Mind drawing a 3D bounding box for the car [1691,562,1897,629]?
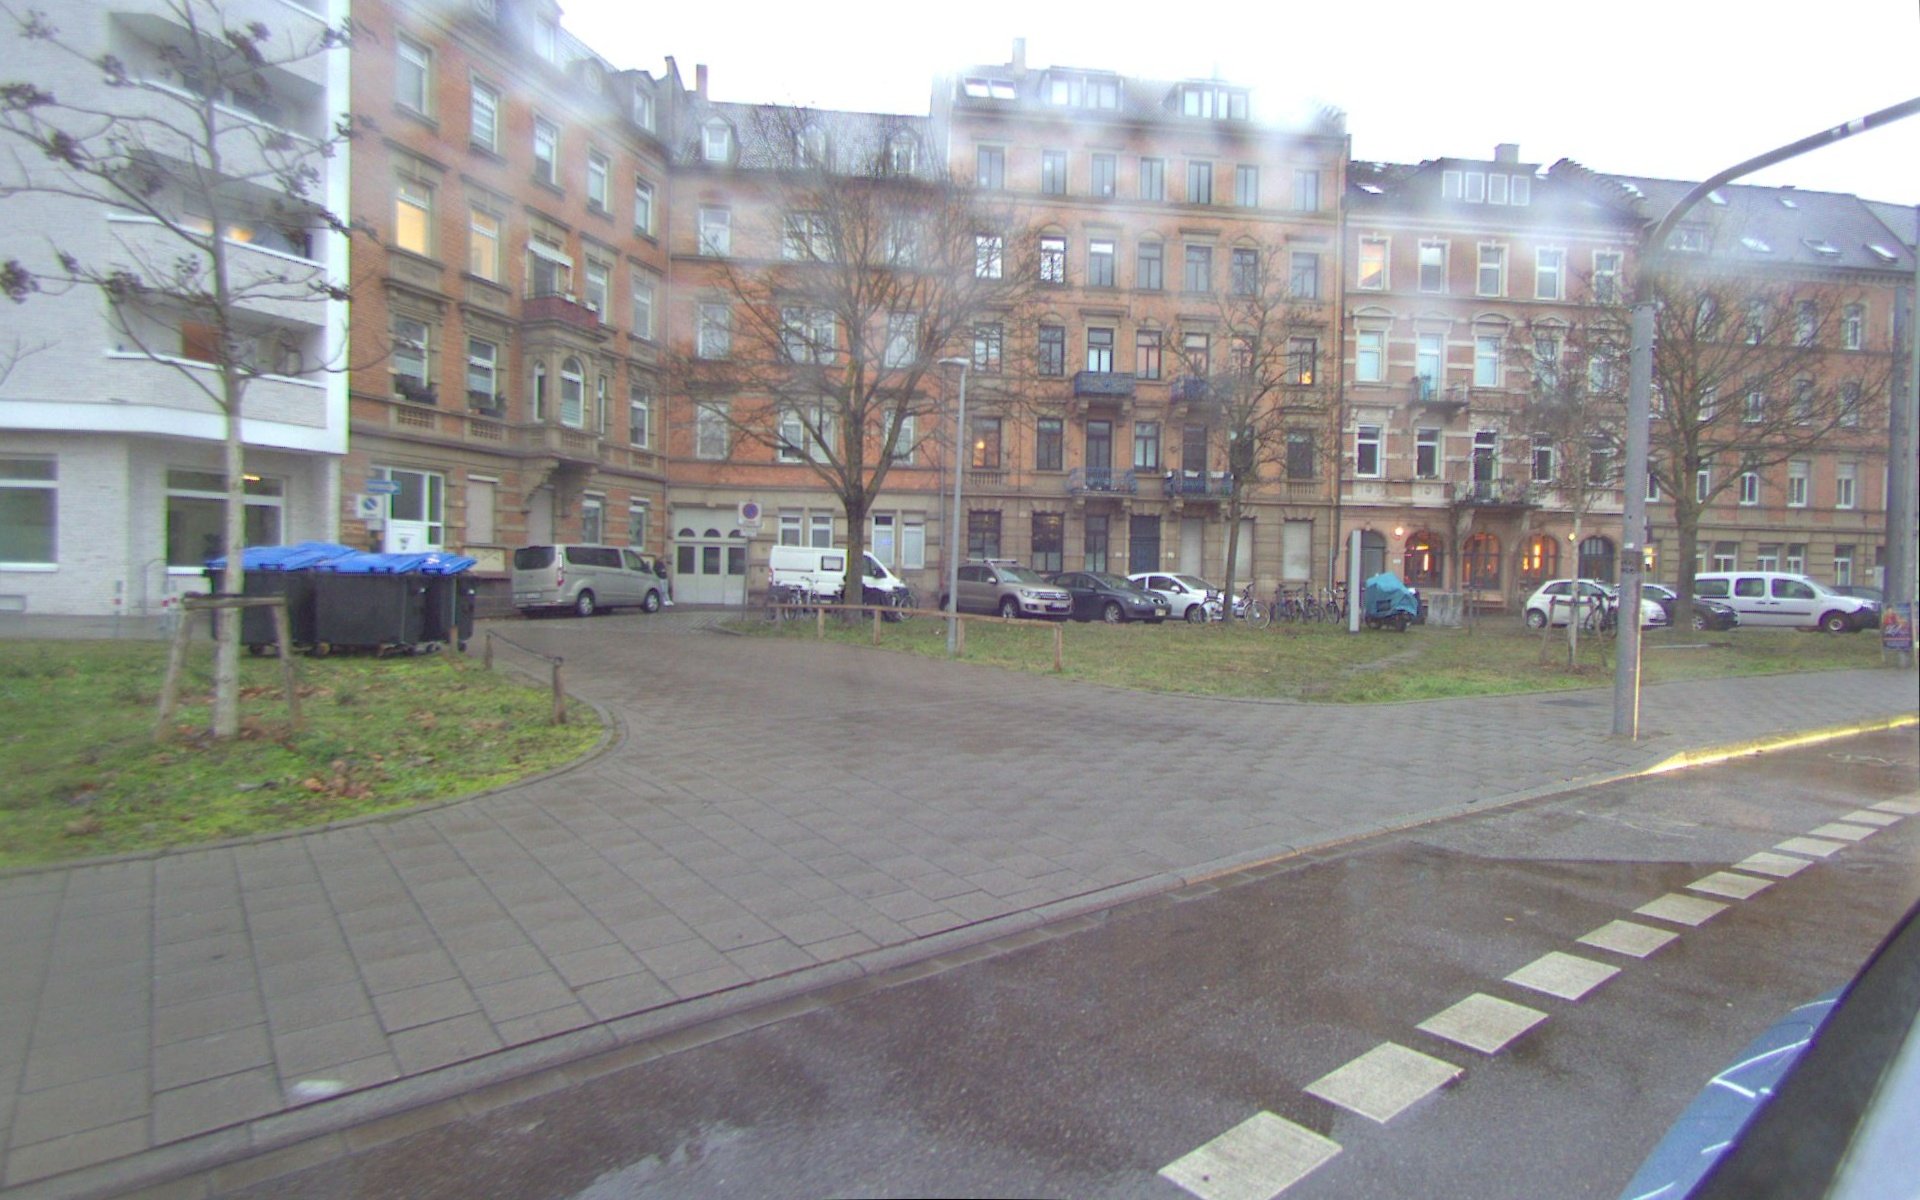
[{"bbox_3d":[24.191,-0.184,29.511,1.748,1.790,4.344,0,1,-37],"label":"car"}]

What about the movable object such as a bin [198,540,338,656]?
[{"bbox_3d":[-9.578,-0.038,14.062,1.229,1.529,1.053,1,1,-1],"label":"movable object such as a bin"}]

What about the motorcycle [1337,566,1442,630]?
[{"bbox_3d":[10.404,-0.085,24.621,0.866,1.362,2.364,0,4,-22],"label":"motorcycle"}]

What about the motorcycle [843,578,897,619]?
[{"bbox_3d":[-2.279,-0.055,25.473,0.503,0.942,1.796,0,3,-36],"label":"motorcycle"}]

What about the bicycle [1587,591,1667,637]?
[{"bbox_3d":[15.596,0.309,23.711,0.437,0.942,1.799,1,3,-8],"label":"bicycle"}]

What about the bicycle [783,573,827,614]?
[{"bbox_3d":[-3.938,-0.174,25.633,0.437,0.942,1.798,0,3,-30],"label":"bicycle"}]

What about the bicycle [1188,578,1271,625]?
[{"bbox_3d":[6.511,0.021,24.503,1.879,1.031,0.535,2,3,14],"label":"bicycle"}]

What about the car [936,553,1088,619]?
[{"bbox_3d":[1.272,-0.401,26.463,1.710,1.589,4.155,0,1,-37],"label":"car"}]

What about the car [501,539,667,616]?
[{"bbox_3d":[-10.490,-0.639,28.624,1.919,1.966,4.569,1,1,20],"label":"car"}]

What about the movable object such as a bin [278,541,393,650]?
[{"bbox_3d":[-9.505,-0.078,15.447,1.118,1.595,1.053,1,1,-1],"label":"movable object such as a bin"}]

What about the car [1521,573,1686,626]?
[{"bbox_3d":[18.367,-0.055,29.006,1.492,1.417,3.688,0,1,-36],"label":"car"}]

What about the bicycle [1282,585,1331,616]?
[{"bbox_3d":[10.065,0.001,29.468,0.436,0.787,1.800,1,3,-13],"label":"bicycle"}]

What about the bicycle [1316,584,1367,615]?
[{"bbox_3d":[11.205,-0.027,29.789,0.386,0.827,1.800,1,3,-16],"label":"bicycle"}]

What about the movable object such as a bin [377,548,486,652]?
[{"bbox_3d":[-7.995,-0.010,15.364,1.118,1.504,1.053,1,1,-1],"label":"movable object such as a bin"}]

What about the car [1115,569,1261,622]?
[{"bbox_3d":[6.106,-0.170,27.445,1.638,1.322,3.687,0,1,-37],"label":"car"}]

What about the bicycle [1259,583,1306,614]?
[{"bbox_3d":[9.387,-0.047,29.531,0.436,0.804,1.800,1,3,-13],"label":"bicycle"}]

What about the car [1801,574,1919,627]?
[{"bbox_3d":[27.204,-0.001,29.381,1.668,1.463,3.968,0,1,-31],"label":"car"}]

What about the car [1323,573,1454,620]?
[{"bbox_3d":[12.791,-0.130,30.348,1.492,1.322,3.301,0,1,-36],"label":"car"}]

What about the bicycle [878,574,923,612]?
[{"bbox_3d":[-1.626,-0.205,27.415,0.437,0.942,1.798,0,3,-30],"label":"bicycle"}]

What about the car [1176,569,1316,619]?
[{"bbox_3d":[8.081,-0.213,28.853,1.493,1.322,3.687,0,1,-37],"label":"car"}]

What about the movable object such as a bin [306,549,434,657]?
[{"bbox_3d":[-8.273,0.028,14.245,1.201,1.450,1.053,1,1,-1],"label":"movable object such as a bin"}]

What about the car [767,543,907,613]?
[{"bbox_3d":[-4.202,-0.744,34.474,4.565,2.216,2.003,1,1,-8],"label":"car"}]

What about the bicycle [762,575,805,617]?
[{"bbox_3d":[-4.426,-0.117,25.328,0.437,0.942,1.798,0,3,-30],"label":"bicycle"}]

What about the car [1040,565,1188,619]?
[{"bbox_3d":[3.972,-0.249,26.564,1.710,1.322,3.687,0,1,-37],"label":"car"}]

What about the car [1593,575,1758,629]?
[{"bbox_3d":[20.945,0.018,29.752,1.492,1.455,3.688,0,1,-36],"label":"car"}]
